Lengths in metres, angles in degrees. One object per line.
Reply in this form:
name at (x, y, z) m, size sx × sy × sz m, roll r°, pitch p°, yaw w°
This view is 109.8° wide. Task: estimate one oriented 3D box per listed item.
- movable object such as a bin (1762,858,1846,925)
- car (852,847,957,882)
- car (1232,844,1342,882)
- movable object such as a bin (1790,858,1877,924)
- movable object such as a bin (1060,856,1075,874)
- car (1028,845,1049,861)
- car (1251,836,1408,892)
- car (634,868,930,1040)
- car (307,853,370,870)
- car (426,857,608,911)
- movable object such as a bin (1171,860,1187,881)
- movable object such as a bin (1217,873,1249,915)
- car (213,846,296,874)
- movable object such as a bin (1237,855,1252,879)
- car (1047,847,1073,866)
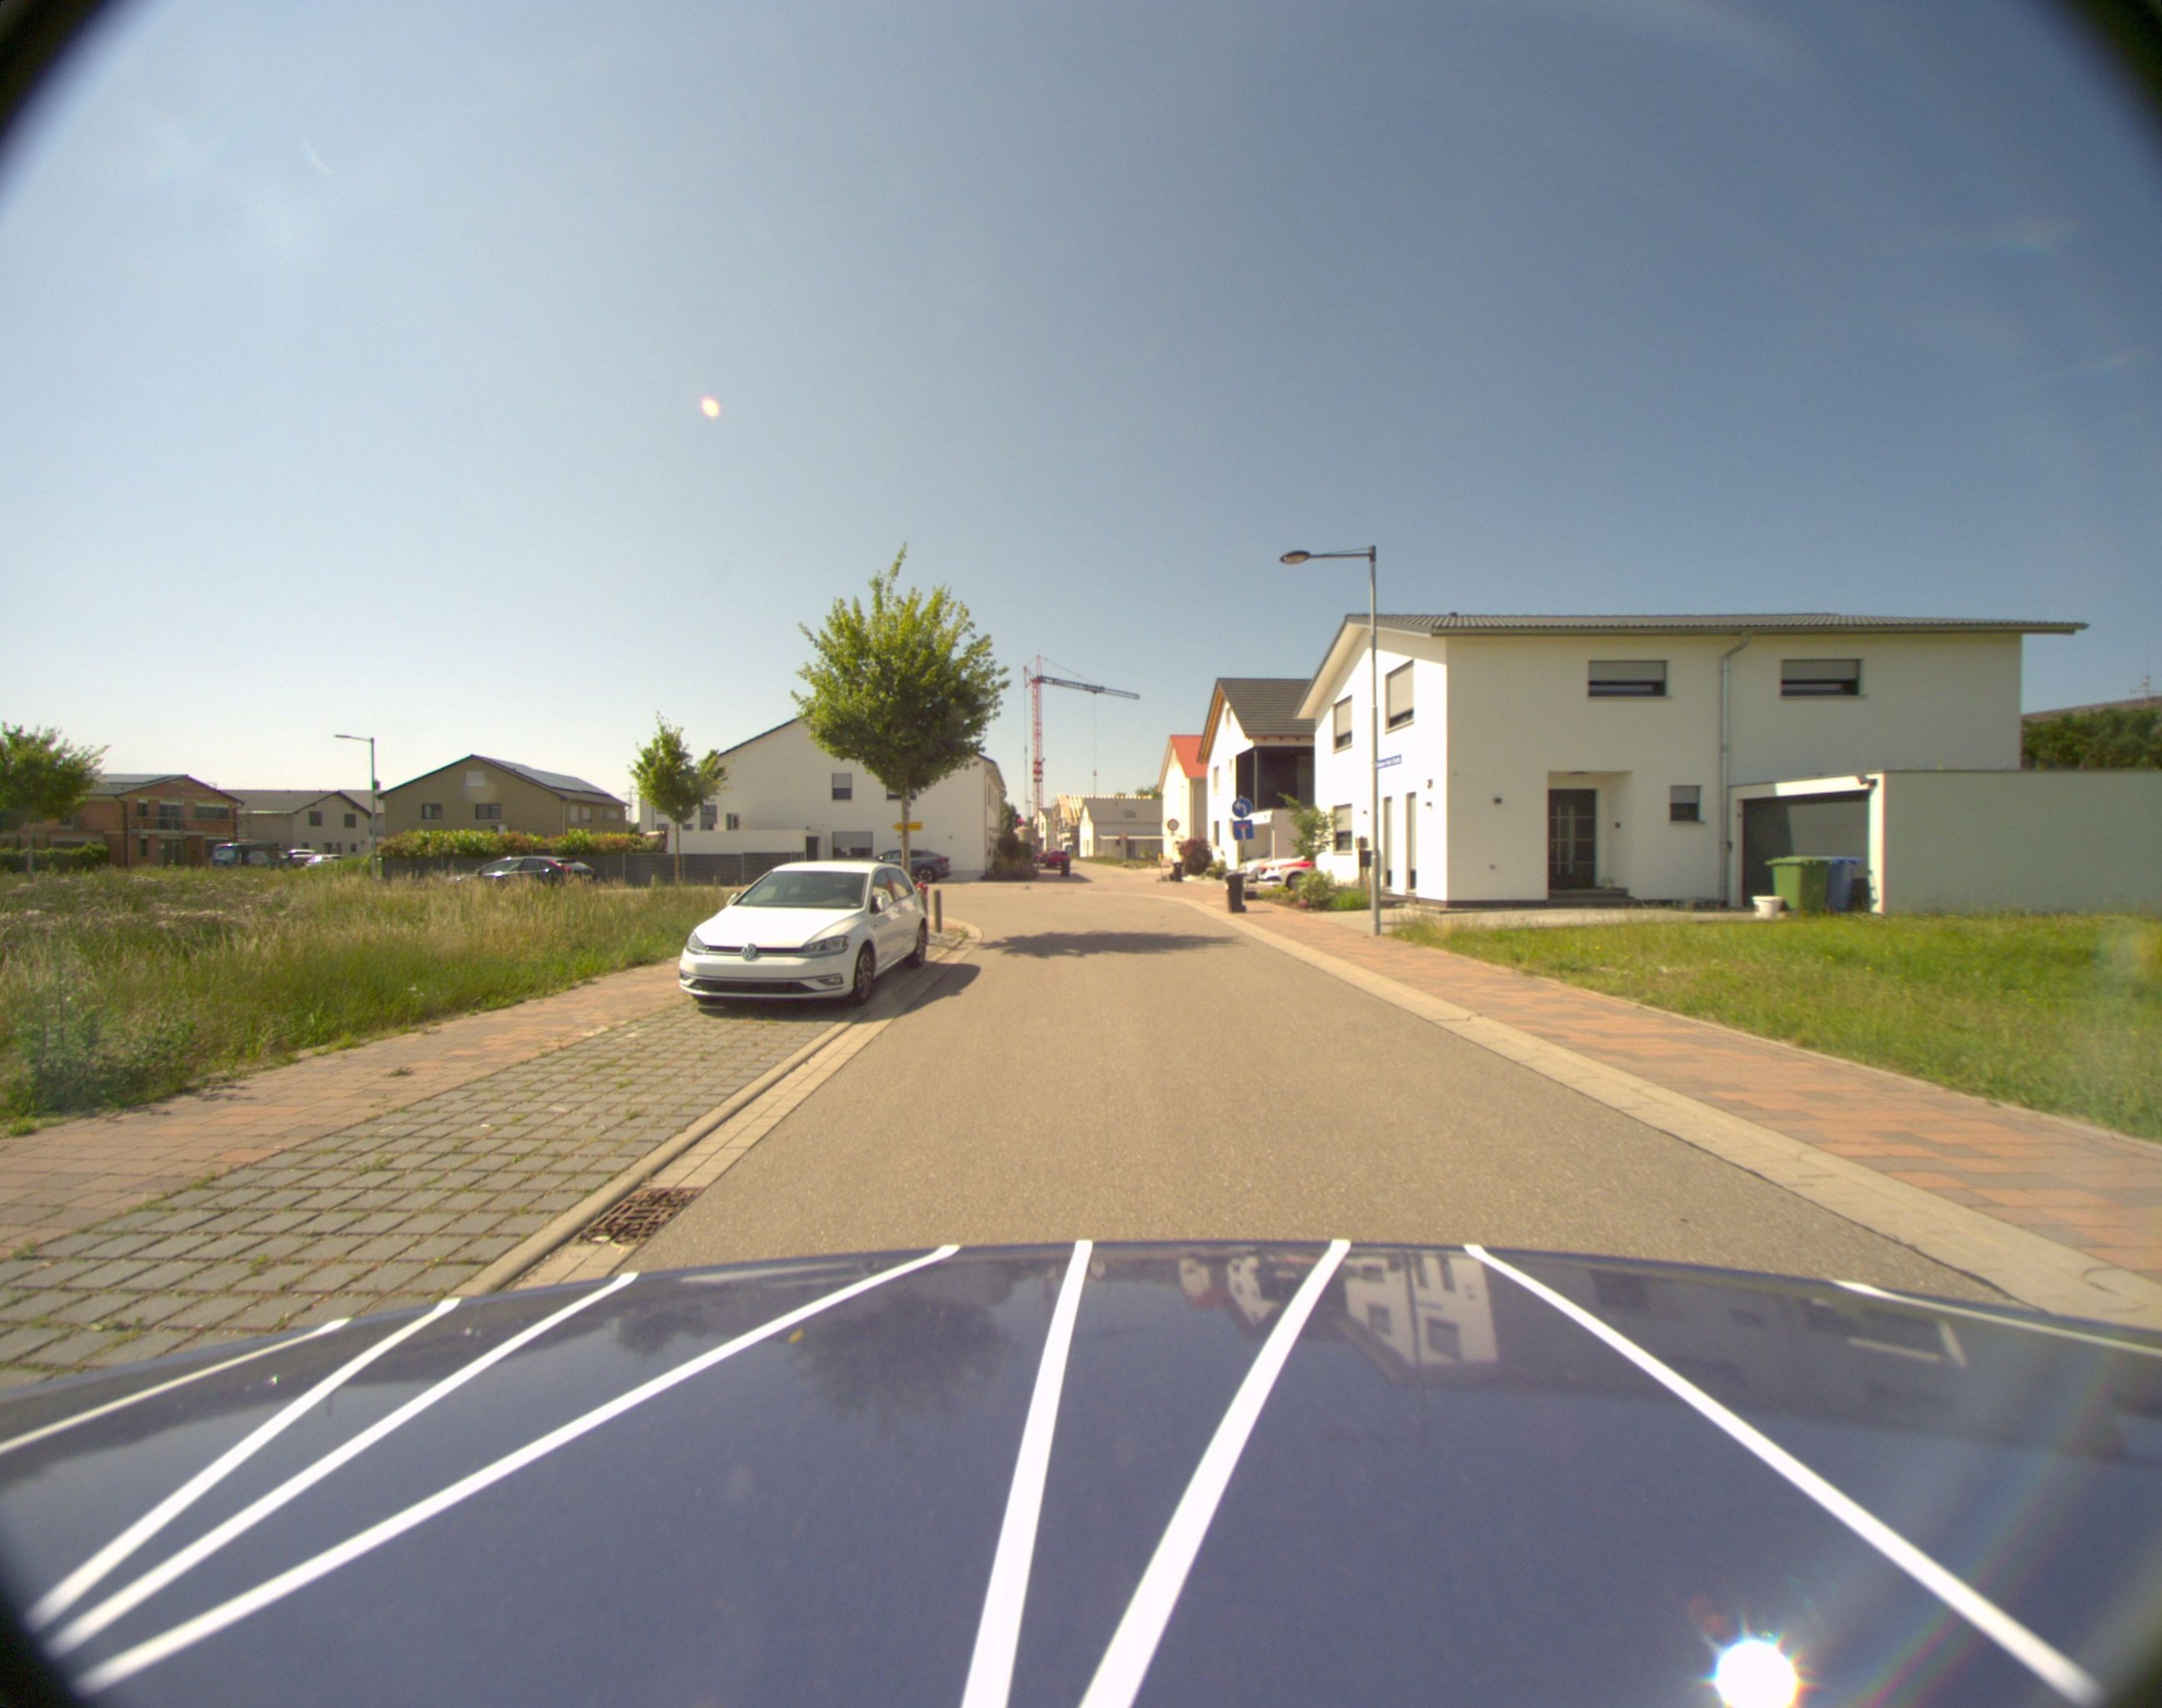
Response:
movable object such as a bin at (12.398, 0.628, 13.051) m, size 0.661 × 1.092 × 0.784 m, roll 1°, pitch 1°, yaw -1°
car at (-8.018, 0.474, 34.797) m, size 4.348 × 1.549 × 1.960 m, roll 0°, pitch 0°, yaw -2°
car at (8.707, 0.358, 32.300) m, size 4.164 × 1.553 × 1.744 m, roll 0°, pitch 1°, yaw -6°
movable object such as a bin at (13.025, 0.620, 13.179) m, size 0.671 × 1.092 × 0.808 m, roll 1°, pitch 1°, yaw 1°
movable object such as a bin at (-0.811, 0.636, 44.693) m, size 0.824 × 1.058 × 0.589 m, roll -1°, pitch 2°, yaw -5°
car at (-4.637, -0.158, 81.593) m, size 1.804 × 1.609 × 3.671 m, roll -1°, pitch 2°, yaw -10°
car at (8.418, 0.317, 26.025) m, size 4.749 × 1.864 × 1.937 m, roll 0°, pitch 1°, yaw -3°
car at (-3.096, 0.937, 8.897) m, size 1.780 × 1.411 × 4.165 m, roll 1°, pitch 0°, yaw 0°
car at (-60.933, 0.589, 62.446) m, size 1.668 × 1.392 × 3.916 m, roll 0°, pitch 1°, yaw -9°
car at (-17.677, 0.897, 24.017) m, size 4.193 × 1.485 × 1.848 m, roll -1°, pitch 2°, yaw -7°
movable object such as a bin at (4.466, 0.736, 34.686) m, size 0.618 × 0.931 × 0.564 m, roll -1°, pitch 0°, yaw -5°
movable object such as a bin at (3.572, 0.927, 17.832) m, size 0.625 × 0.943 × 0.499 m, roll -1°, pitch 2°, yaw -5°
car at (-60.044, 0.406, 55.316) m, size 2.000 × 2.002 × 3.996 m, roll 0°, pitch 1°, yaw -9°
movable object such as a bin at (7.625, 0.594, 35.443) m, size 0.500 × 1.085 × 0.601 m, roll -1°, pitch 0°, yaw -5°
car at (-1.785, 0.174, 62.421) m, size 1.912 × 1.471 × 3.997 m, roll -1°, pitch 2°, yaw -4°
